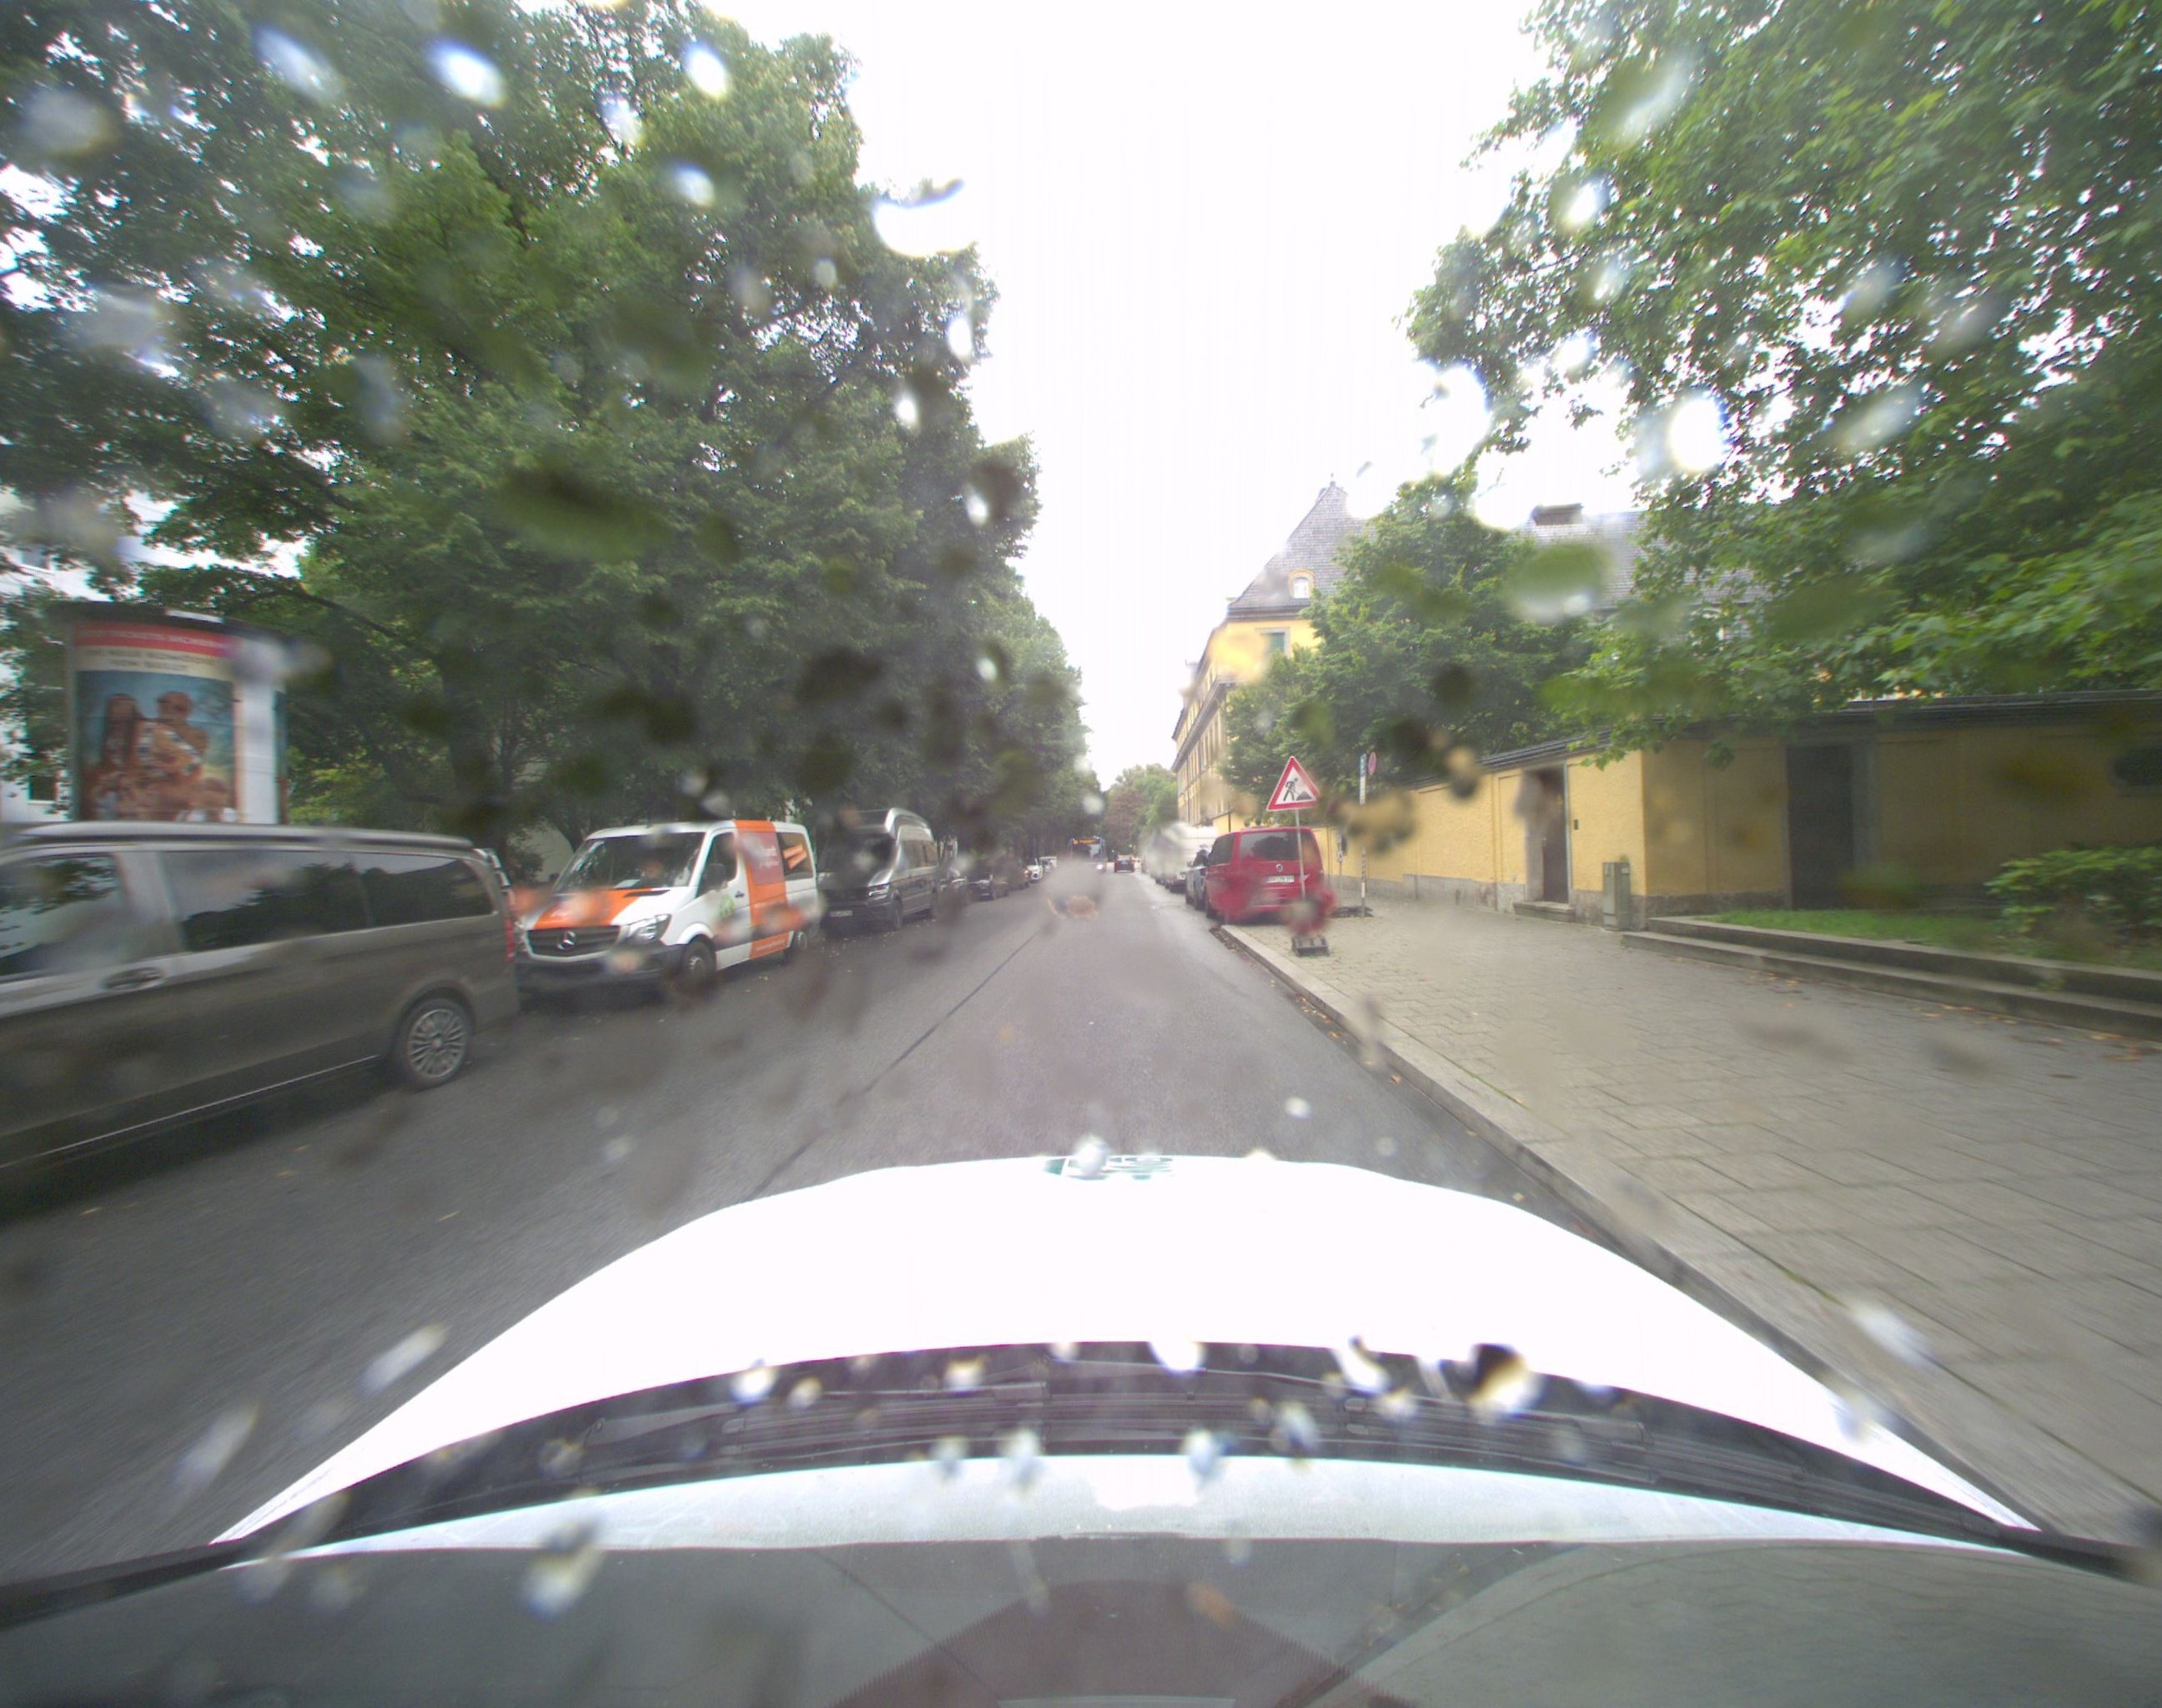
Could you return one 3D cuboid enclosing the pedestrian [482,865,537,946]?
[{"bbox_3d":[-11.523,1.025,16.438,0.695,1.591,0.538,-1,0,3],"label":"pedestrian"}]

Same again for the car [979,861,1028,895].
[{"bbox_3d":[-3.578,1.098,38.373,1.783,1.454,3.950,-2,-1,1],"label":"car"}]

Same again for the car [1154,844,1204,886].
[{"bbox_3d":[4.833,0.530,40.694,2.006,1.906,5.165,-1,0,2],"label":"car"}]

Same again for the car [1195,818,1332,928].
[{"bbox_3d":[3.761,0.410,17.842,1.852,1.967,5.446,-2,-1,2],"label":"car"}]

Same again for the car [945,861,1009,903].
[{"bbox_3d":[-4.008,1.070,32.064,1.783,1.438,4.552,-2,-1,1],"label":"car"}]

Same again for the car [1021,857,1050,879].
[{"bbox_3d":[-3.237,1.001,58.170,1.666,1.469,4.105,-2,-1,1],"label":"car"}]

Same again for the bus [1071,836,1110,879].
[{"bbox_3d":[1.087,0.422,72.224,2.848,3.239,18.434,-2,-1,2],"label":"bus"}]

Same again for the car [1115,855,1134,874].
[{"bbox_3d":[3.831,0.921,71.110,1.570,1.584,4.048,-2,-1,4],"label":"car"}]

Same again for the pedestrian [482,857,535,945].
[{"bbox_3d":[-12.047,0.978,17.135,0.695,1.820,0.538,-1,0,3],"label":"pedestrian"}]

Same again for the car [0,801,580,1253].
[{"bbox_3d":[-5.664,0.798,4.720,1.938,1.963,5.461,-3,0,1],"label":"car"}]

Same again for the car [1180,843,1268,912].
[{"bbox_3d":[3.915,0.609,23.023,1.851,1.741,4.605,-1,0,2],"label":"car"}]

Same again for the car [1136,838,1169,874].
[{"bbox_3d":[5.754,0.192,66.216,2.047,2.673,7.616,-2,-1,1],"label":"car"}]

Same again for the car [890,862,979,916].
[{"bbox_3d":[-4.685,1.078,26.784,1.782,1.438,4.583,-3,0,3],"label":"car"}]

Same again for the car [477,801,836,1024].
[{"bbox_3d":[-5.469,0.689,11.617,2.106,2.349,5.409,-2,-1,1],"label":"car"}]

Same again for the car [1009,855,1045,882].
[{"bbox_3d":[-3.405,0.905,52.017,1.777,1.597,4.585,-2,-1,1],"label":"car"}]

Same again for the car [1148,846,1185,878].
[{"bbox_3d":[5.395,0.528,51.962,1.864,1.869,4.988,-2,-1,1],"label":"car"}]

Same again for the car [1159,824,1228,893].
[{"bbox_3d":[4.480,0.218,33.398,2.087,2.488,5.741,-2,-1,2],"label":"car"}]

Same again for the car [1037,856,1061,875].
[{"bbox_3d":[-2.611,0.949,67.918,1.666,1.469,4.105,-2,-1,1],"label":"car"}]

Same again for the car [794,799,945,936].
[{"bbox_3d":[-5.037,0.350,20.469,1.938,2.854,6.237,-2,-1,1],"label":"car"}]
